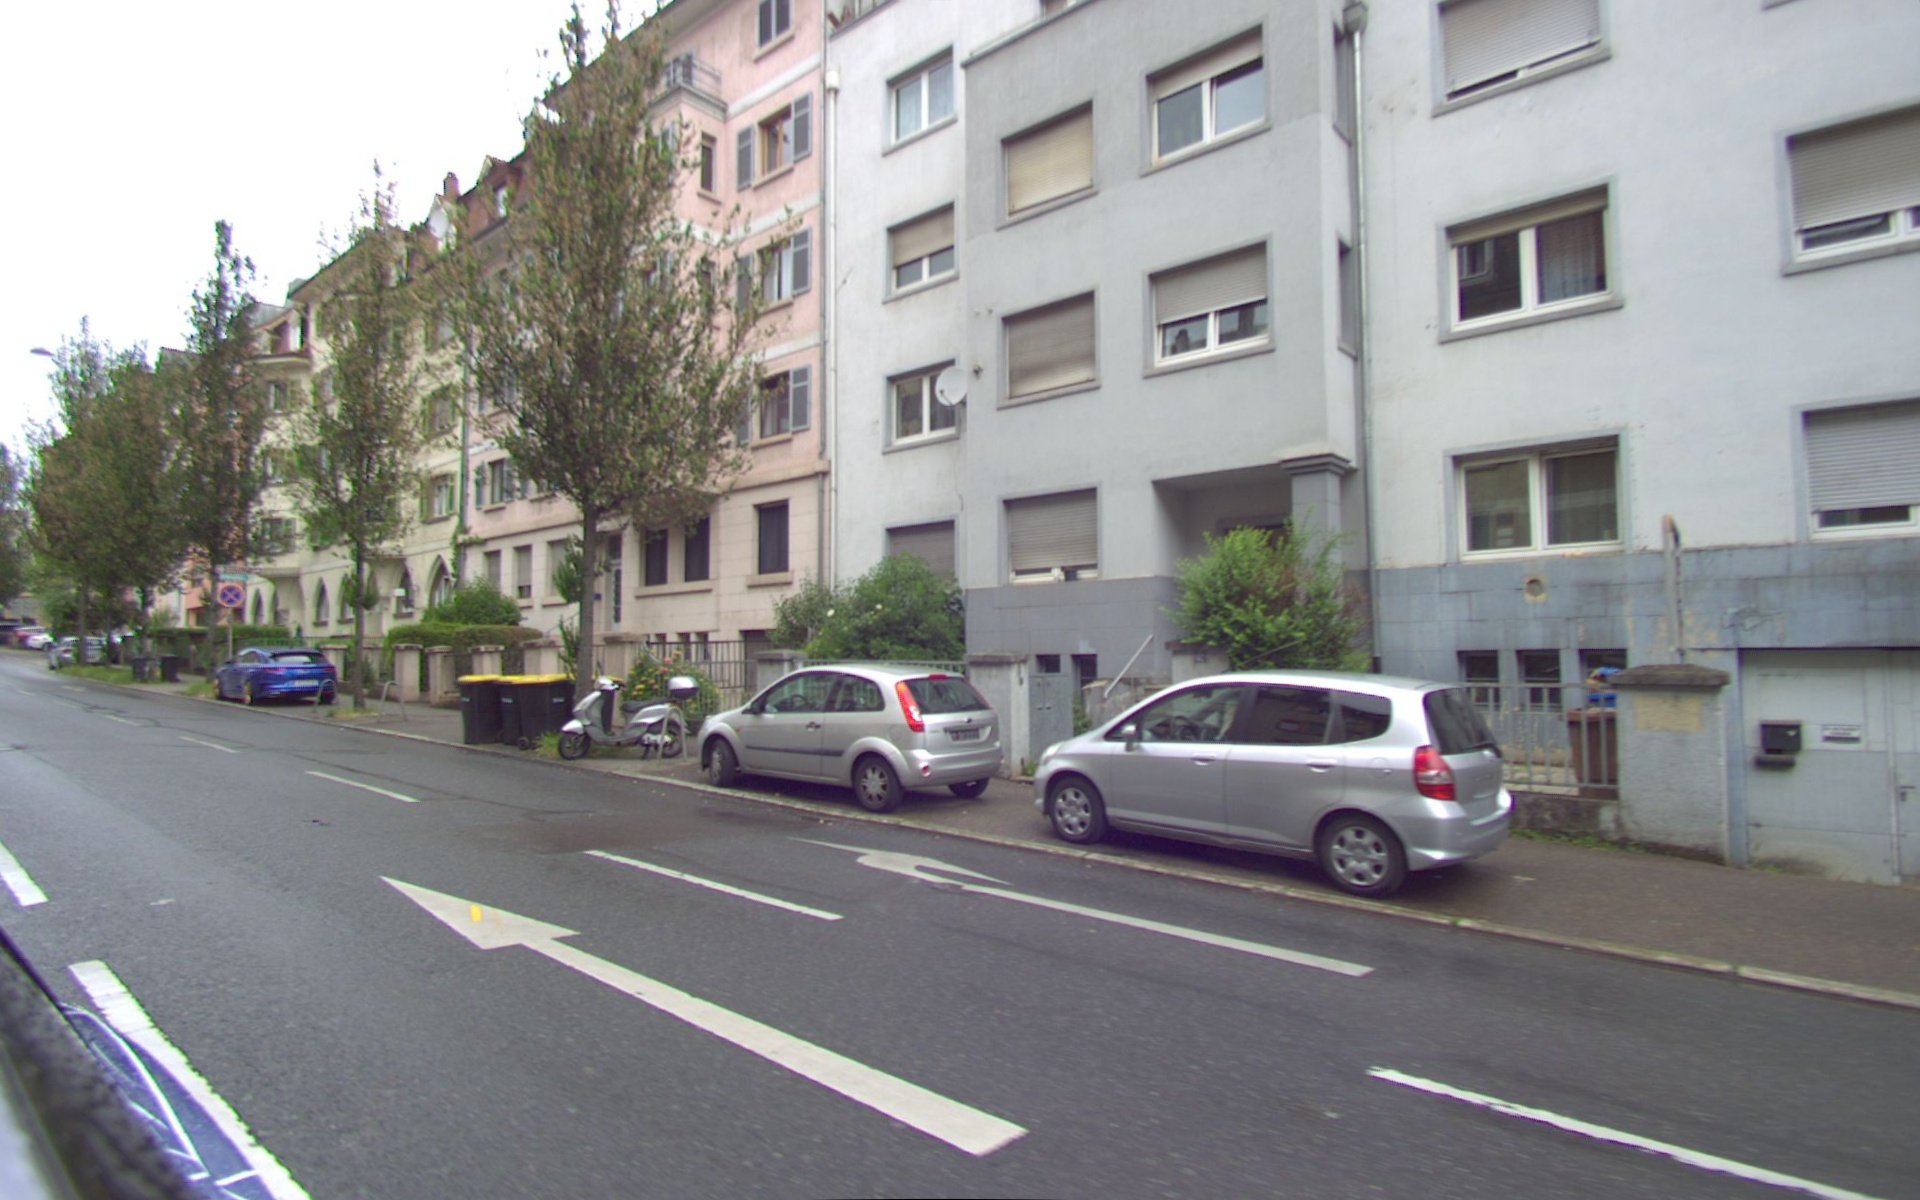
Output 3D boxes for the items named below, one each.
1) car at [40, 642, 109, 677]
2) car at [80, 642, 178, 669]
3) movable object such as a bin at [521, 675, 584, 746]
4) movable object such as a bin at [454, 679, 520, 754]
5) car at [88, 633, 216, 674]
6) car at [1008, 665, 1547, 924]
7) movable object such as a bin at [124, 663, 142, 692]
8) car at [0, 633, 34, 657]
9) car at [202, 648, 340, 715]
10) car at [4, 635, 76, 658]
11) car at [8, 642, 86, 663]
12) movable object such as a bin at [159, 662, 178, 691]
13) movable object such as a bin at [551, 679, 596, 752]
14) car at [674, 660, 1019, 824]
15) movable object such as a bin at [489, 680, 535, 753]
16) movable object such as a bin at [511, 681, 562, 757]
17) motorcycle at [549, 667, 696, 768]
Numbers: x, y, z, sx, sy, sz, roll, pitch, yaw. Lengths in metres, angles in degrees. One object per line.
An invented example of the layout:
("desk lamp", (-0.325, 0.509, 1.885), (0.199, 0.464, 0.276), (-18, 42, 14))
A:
("car", (-38.689, 2.590, 44.196), (4.135, 1.429, 1.664), (-1, -5, 41))
("car", (-46.493, 3.125, 56.706), (1.721, 1.408, 3.886), (0, -4, 34))
("movable object such as a bin", (-6.632, 1.787, 16.483), (0.483, 1.066, 0.816), (-1, -1, 42))
("movable object such as a bin", (-7.460, 1.818, 15.970), (0.483, 1.066, 0.816), (-1, 0, 42))
("car", (-40.482, 2.640, 50.807), (1.917, 1.919, 4.673), (-1, -2, 38))
("car", (2.373, 1.329, 8.222), (3.889, 1.462, 1.582), (-1, -3, 44))
("movable object such as a bin", (-27.004, 2.533, 33.051), (0.572, 0.896, 0.360), (-2, -2, 40))
("car", (-74.663, 3.459, 78.514), (1.865, 1.861, 3.881), (-1, -4, 38))
("car", (-17.199, 1.967, 25.180), (4.600, 1.396, 1.661), (-1, -3, 41))
("car", (-71.053, 3.572, 78.178), (1.592, 1.634, 3.878), (-1, -4, 41))
("car", (-63.880, 3.687, 70.853), (1.646, 1.307, 3.878), (-1, -4, 41))
("movable object such as a bin", (-26.435, 2.543, 33.795), (0.572, 0.918, 0.360), (-1, -2, 40))
("movable object such as a bin", (-6.011, 1.781, 15.735), (0.482, 1.066, 0.467), (-1, 0, 32))
("car", (-1.375, 1.436, 11.338), (3.884, 1.407, 1.584), (-1, -3, 40))
("movable object such as a bin", (-6.946, 1.797, 15.696), (0.482, 1.066, 0.467), (-1, 0, 32))
("movable object such as a bin", (-6.361, 1.778, 15.212), (0.480, 1.066, 0.522), (-1, 0, 19))
("motorcycle", (-4.626, 1.603, 13.969), (1.782, 1.325, 0.743), (1, -3, -8))
